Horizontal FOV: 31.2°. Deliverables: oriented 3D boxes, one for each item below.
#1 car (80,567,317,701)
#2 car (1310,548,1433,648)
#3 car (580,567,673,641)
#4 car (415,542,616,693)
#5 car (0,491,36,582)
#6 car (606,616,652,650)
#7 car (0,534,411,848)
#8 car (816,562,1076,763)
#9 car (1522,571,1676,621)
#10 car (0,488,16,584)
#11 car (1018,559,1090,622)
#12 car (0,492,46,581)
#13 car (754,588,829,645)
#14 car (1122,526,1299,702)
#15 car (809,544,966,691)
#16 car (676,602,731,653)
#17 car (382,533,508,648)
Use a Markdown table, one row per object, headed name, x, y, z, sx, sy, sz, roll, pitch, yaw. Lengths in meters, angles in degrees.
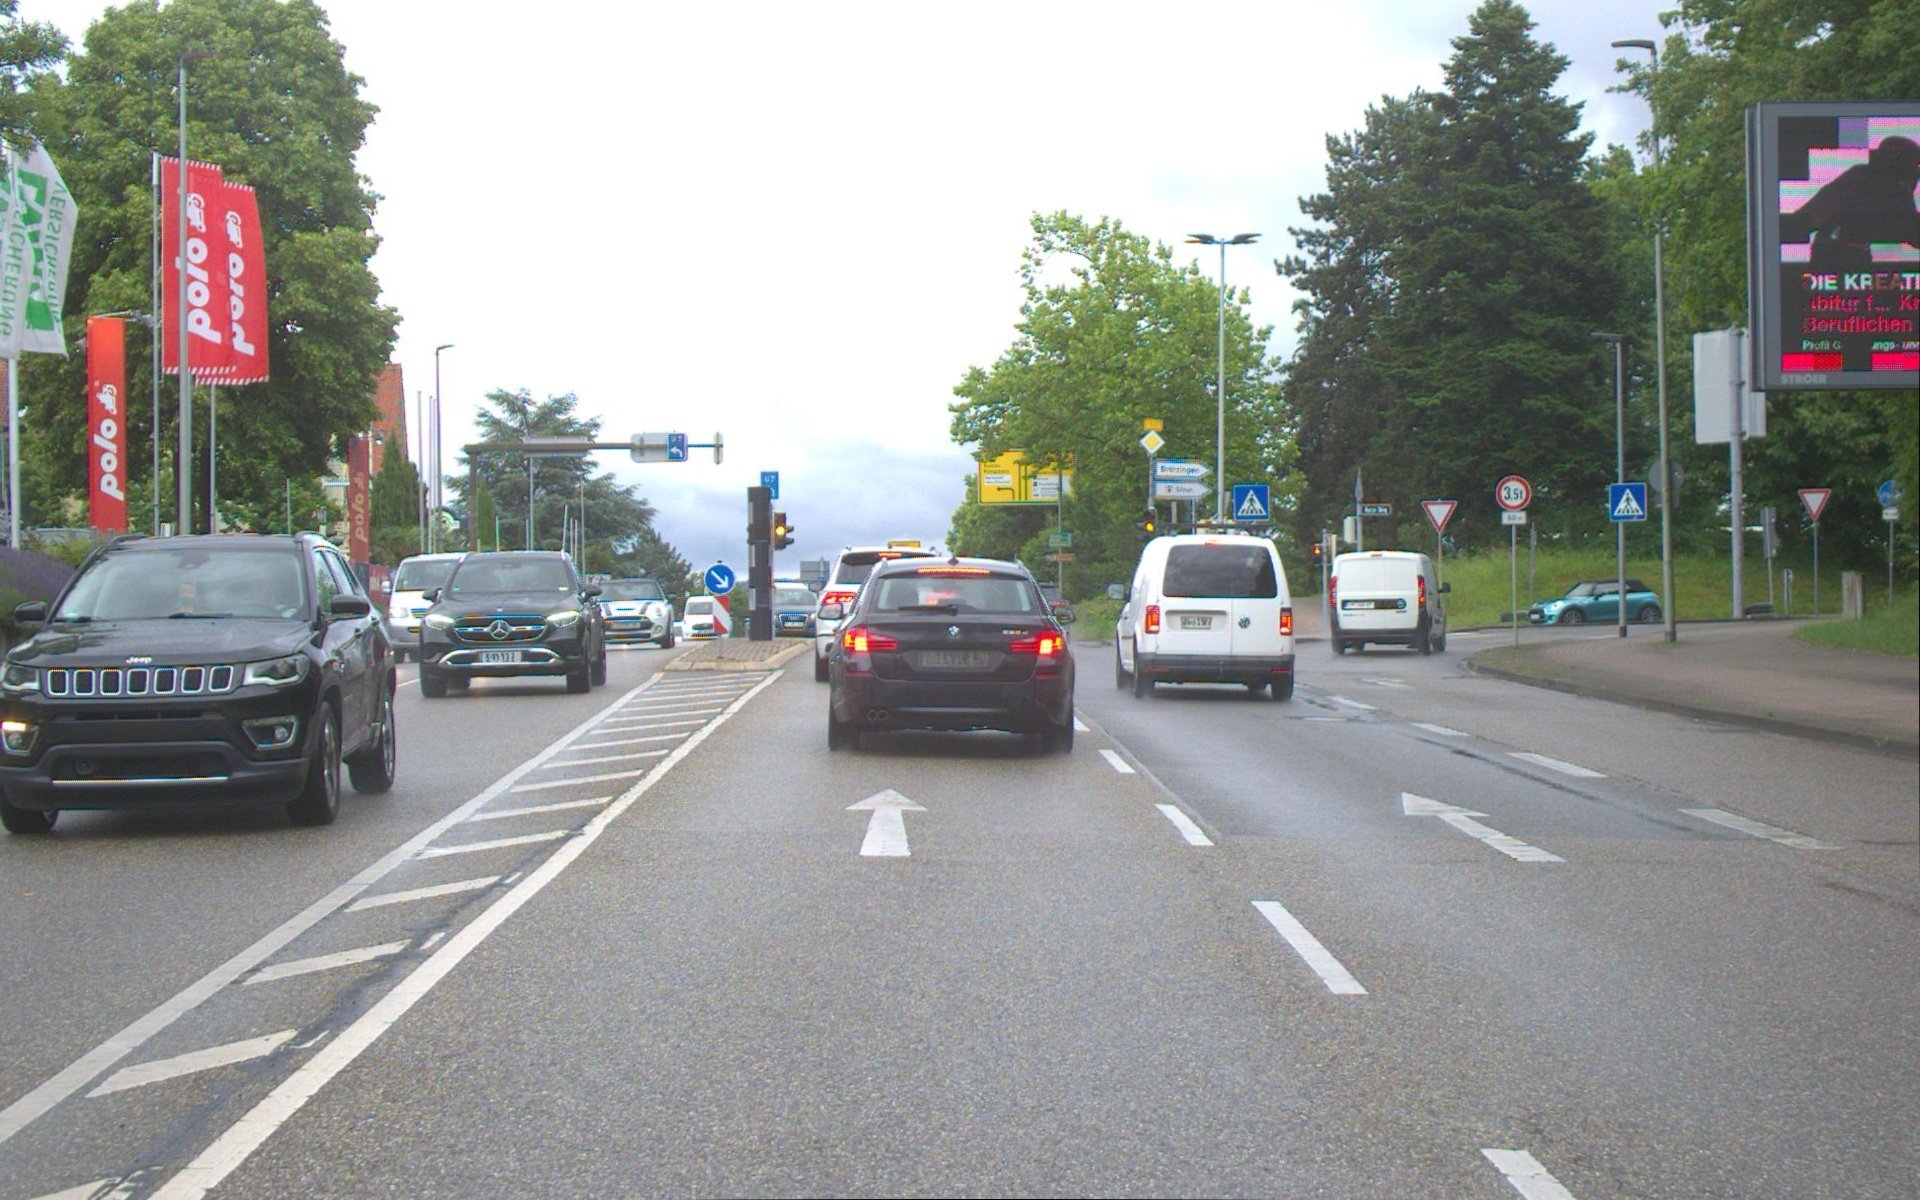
| name | x | y | z | sx | sy | sz | roll | pitch | yaw |
| --- | --- | --- | --- | --- | --- | --- | --- | --- | --- |
| car | -8.745 | 0.352 | 39.809 | 1.793 | 1.397 | 4.300 | -2 | 1 | 0 |
| car | 7.437 | -0.064 | 62.389 | 1.814 | 1.702 | 3.946 | 0 | 1 | 1 |
| car | -6.656 | 0.059 | 68.875 | 1.667 | 1.393 | 4.000 | -2 | 0 | -3 |
| car | -5.084 | 0.171 | 39.809 | 1.822 | 1.602 | 4.284 | -1 | 1 | -1 |
| car | -17.197 | -1.031 | 56.595 | 3.646 | 1.477 | 1.742 | 0 | 0 | -8 |
| car | -14.254 | 1.424 | 148.259 | 1.668 | 1.377 | 4.072 | -1 | 0 | -2 |
| car | -4.371 | 0.432 | 19.977 | 1.795 | 1.578 | 4.199 | -1 | 1 | -2 |
| car | -0.050 | 0.432 | 26.754 | 1.855 | 1.414 | 3.956 | 1 | 1 | 1 |
| car | 18.149 | -0.116 | 97.648 | 3.986 | 1.289 | 1.609 | -2 | 1 | -19 |
| car | -16.908 | -0.987 | 53.961 | 3.825 | 1.477 | 1.742 | 0 | 0 | -8 |
| car | 2.197 | -0.249 | 81.051 | 1.600 | 1.367 | 3.680 | -1 | 1 | 1 |
| car | -17.562 | -1.070 | 58.887 | 3.415 | 1.504 | 1.583 | -1 | 0 | -2 |
| car | -4.493 | 0.434 | 91.185 | 1.894 | 1.451 | 4.097 | 0 | 0 | -4 |
| car | 2.775 | 0.136 | 38.839 | 1.741 | 1.863 | 3.946 | 1 | 0 | 1 |
| car | -0.866 | 0.186 | 42.759 | 1.728 | 1.705 | 3.382 | 1 | 1 | 2 |
| car | -9.605 | 1.031 | 128.825 | 1.857 | 1.817 | 4.580 | -2 | 0 | -3 |
| car | -9.351 | -0.191 | 62.740 | 1.795 | 1.976 | 4.899 | -2 | 1 | -4 |
